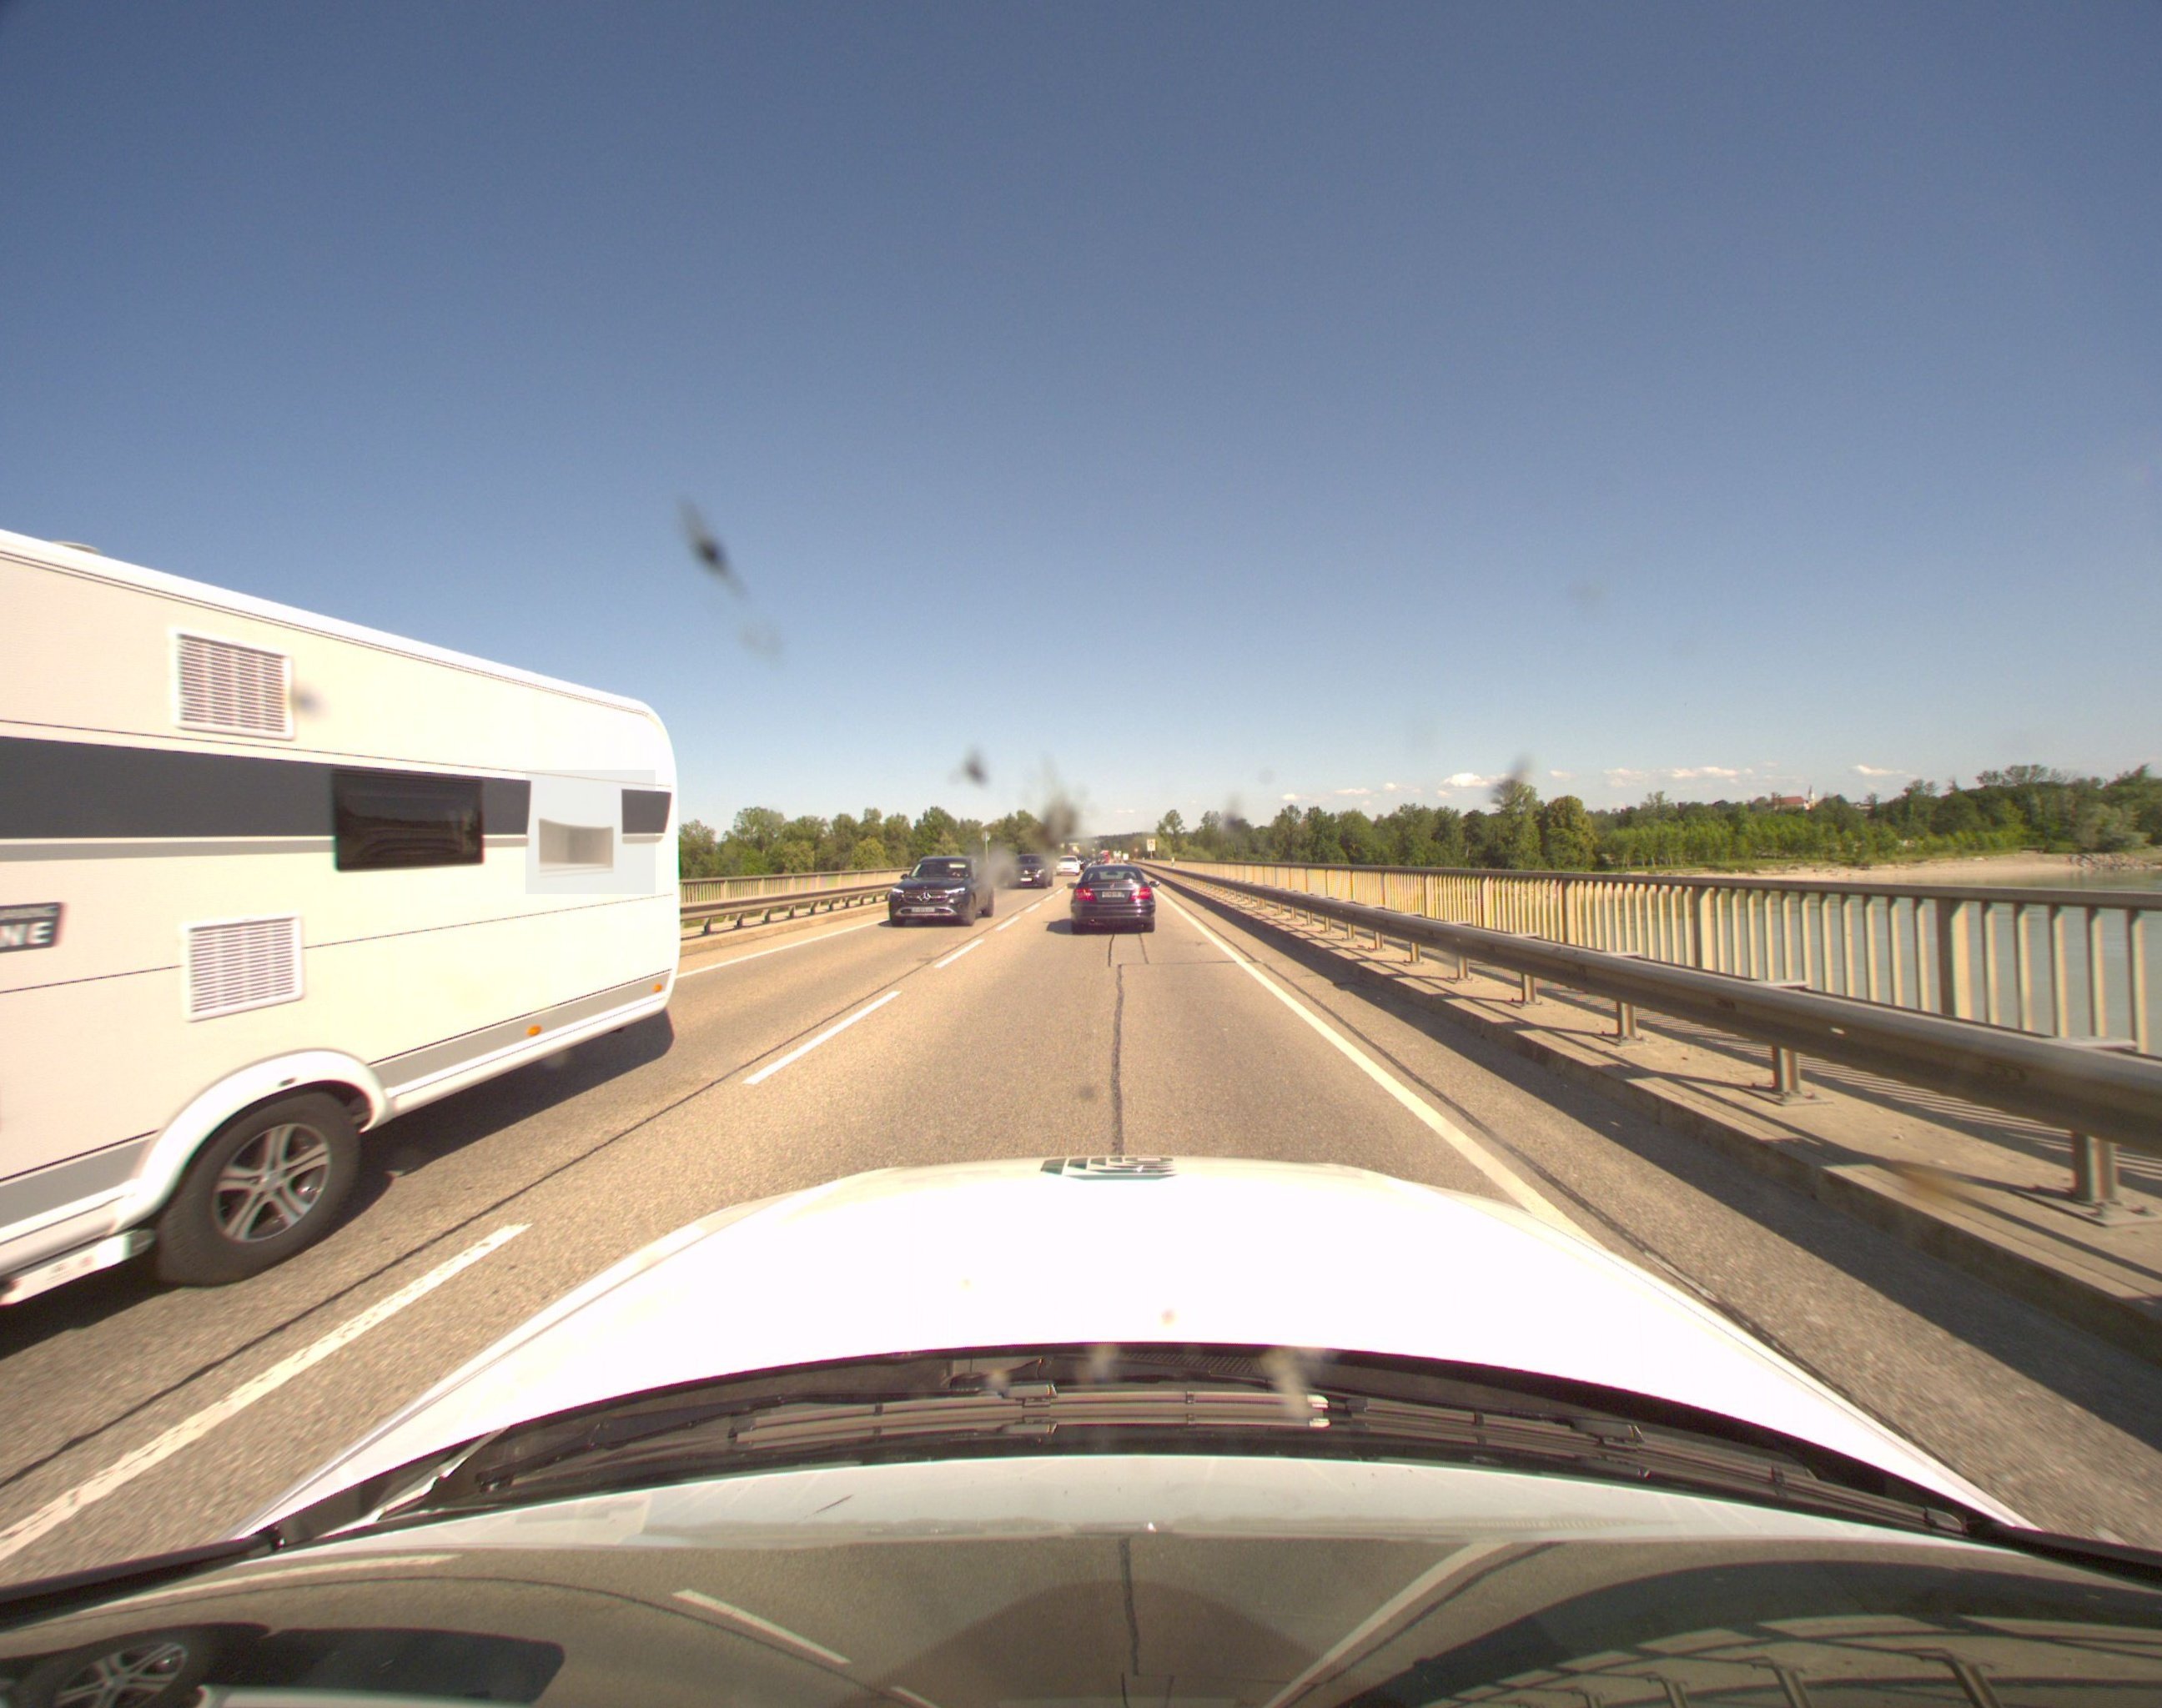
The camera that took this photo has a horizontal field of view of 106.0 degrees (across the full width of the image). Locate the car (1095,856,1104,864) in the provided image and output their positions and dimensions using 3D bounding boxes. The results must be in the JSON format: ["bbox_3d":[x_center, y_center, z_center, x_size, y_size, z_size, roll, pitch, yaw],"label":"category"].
[{"bbox_3d":[3.974,1.310,172.542,1.801,1.577,4.199,-1,0,-1],"label":"car"}]

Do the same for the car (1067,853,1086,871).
[{"bbox_3d":[-0.500,0.832,88.119,2.031,1.874,5.068,0,0,-1],"label":"car"}]

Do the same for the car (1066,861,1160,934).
[{"bbox_3d":[0.710,0.858,17.657,1.786,1.376,4.003,0,0,3],"label":"car"}]

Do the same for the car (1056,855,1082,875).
[{"bbox_3d":[-1.011,0.929,69.716,1.976,1.651,4.599,0,0,1],"label":"car"}]

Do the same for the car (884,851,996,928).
[{"bbox_3d":[-3.305,0.784,19.970,1.795,1.661,4.435,0,0,2],"label":"car"}]

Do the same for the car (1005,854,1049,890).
[{"bbox_3d":[-2.664,0.857,41.290,1.943,1.694,4.475,0,0,-1],"label":"car"}]

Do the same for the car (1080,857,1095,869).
[{"bbox_3d":[0.807,1.178,105.560,1.760,1.447,4.454,0,0,-1],"label":"car"}]

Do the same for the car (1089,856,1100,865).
[{"bbox_3d":[2.586,1.218,156.563,2.047,1.653,4.719,1,0,-1],"label":"car"}]

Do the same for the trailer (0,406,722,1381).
[{"bbox_3d":[-4.307,0.140,2.314,2.545,2.737,8.068,-2,0,3],"label":"trailer"}]

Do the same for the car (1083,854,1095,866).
[{"bbox_3d":[1.267,0.953,130.551,1.847,1.722,4.567,0,0,1],"label":"car"}]
